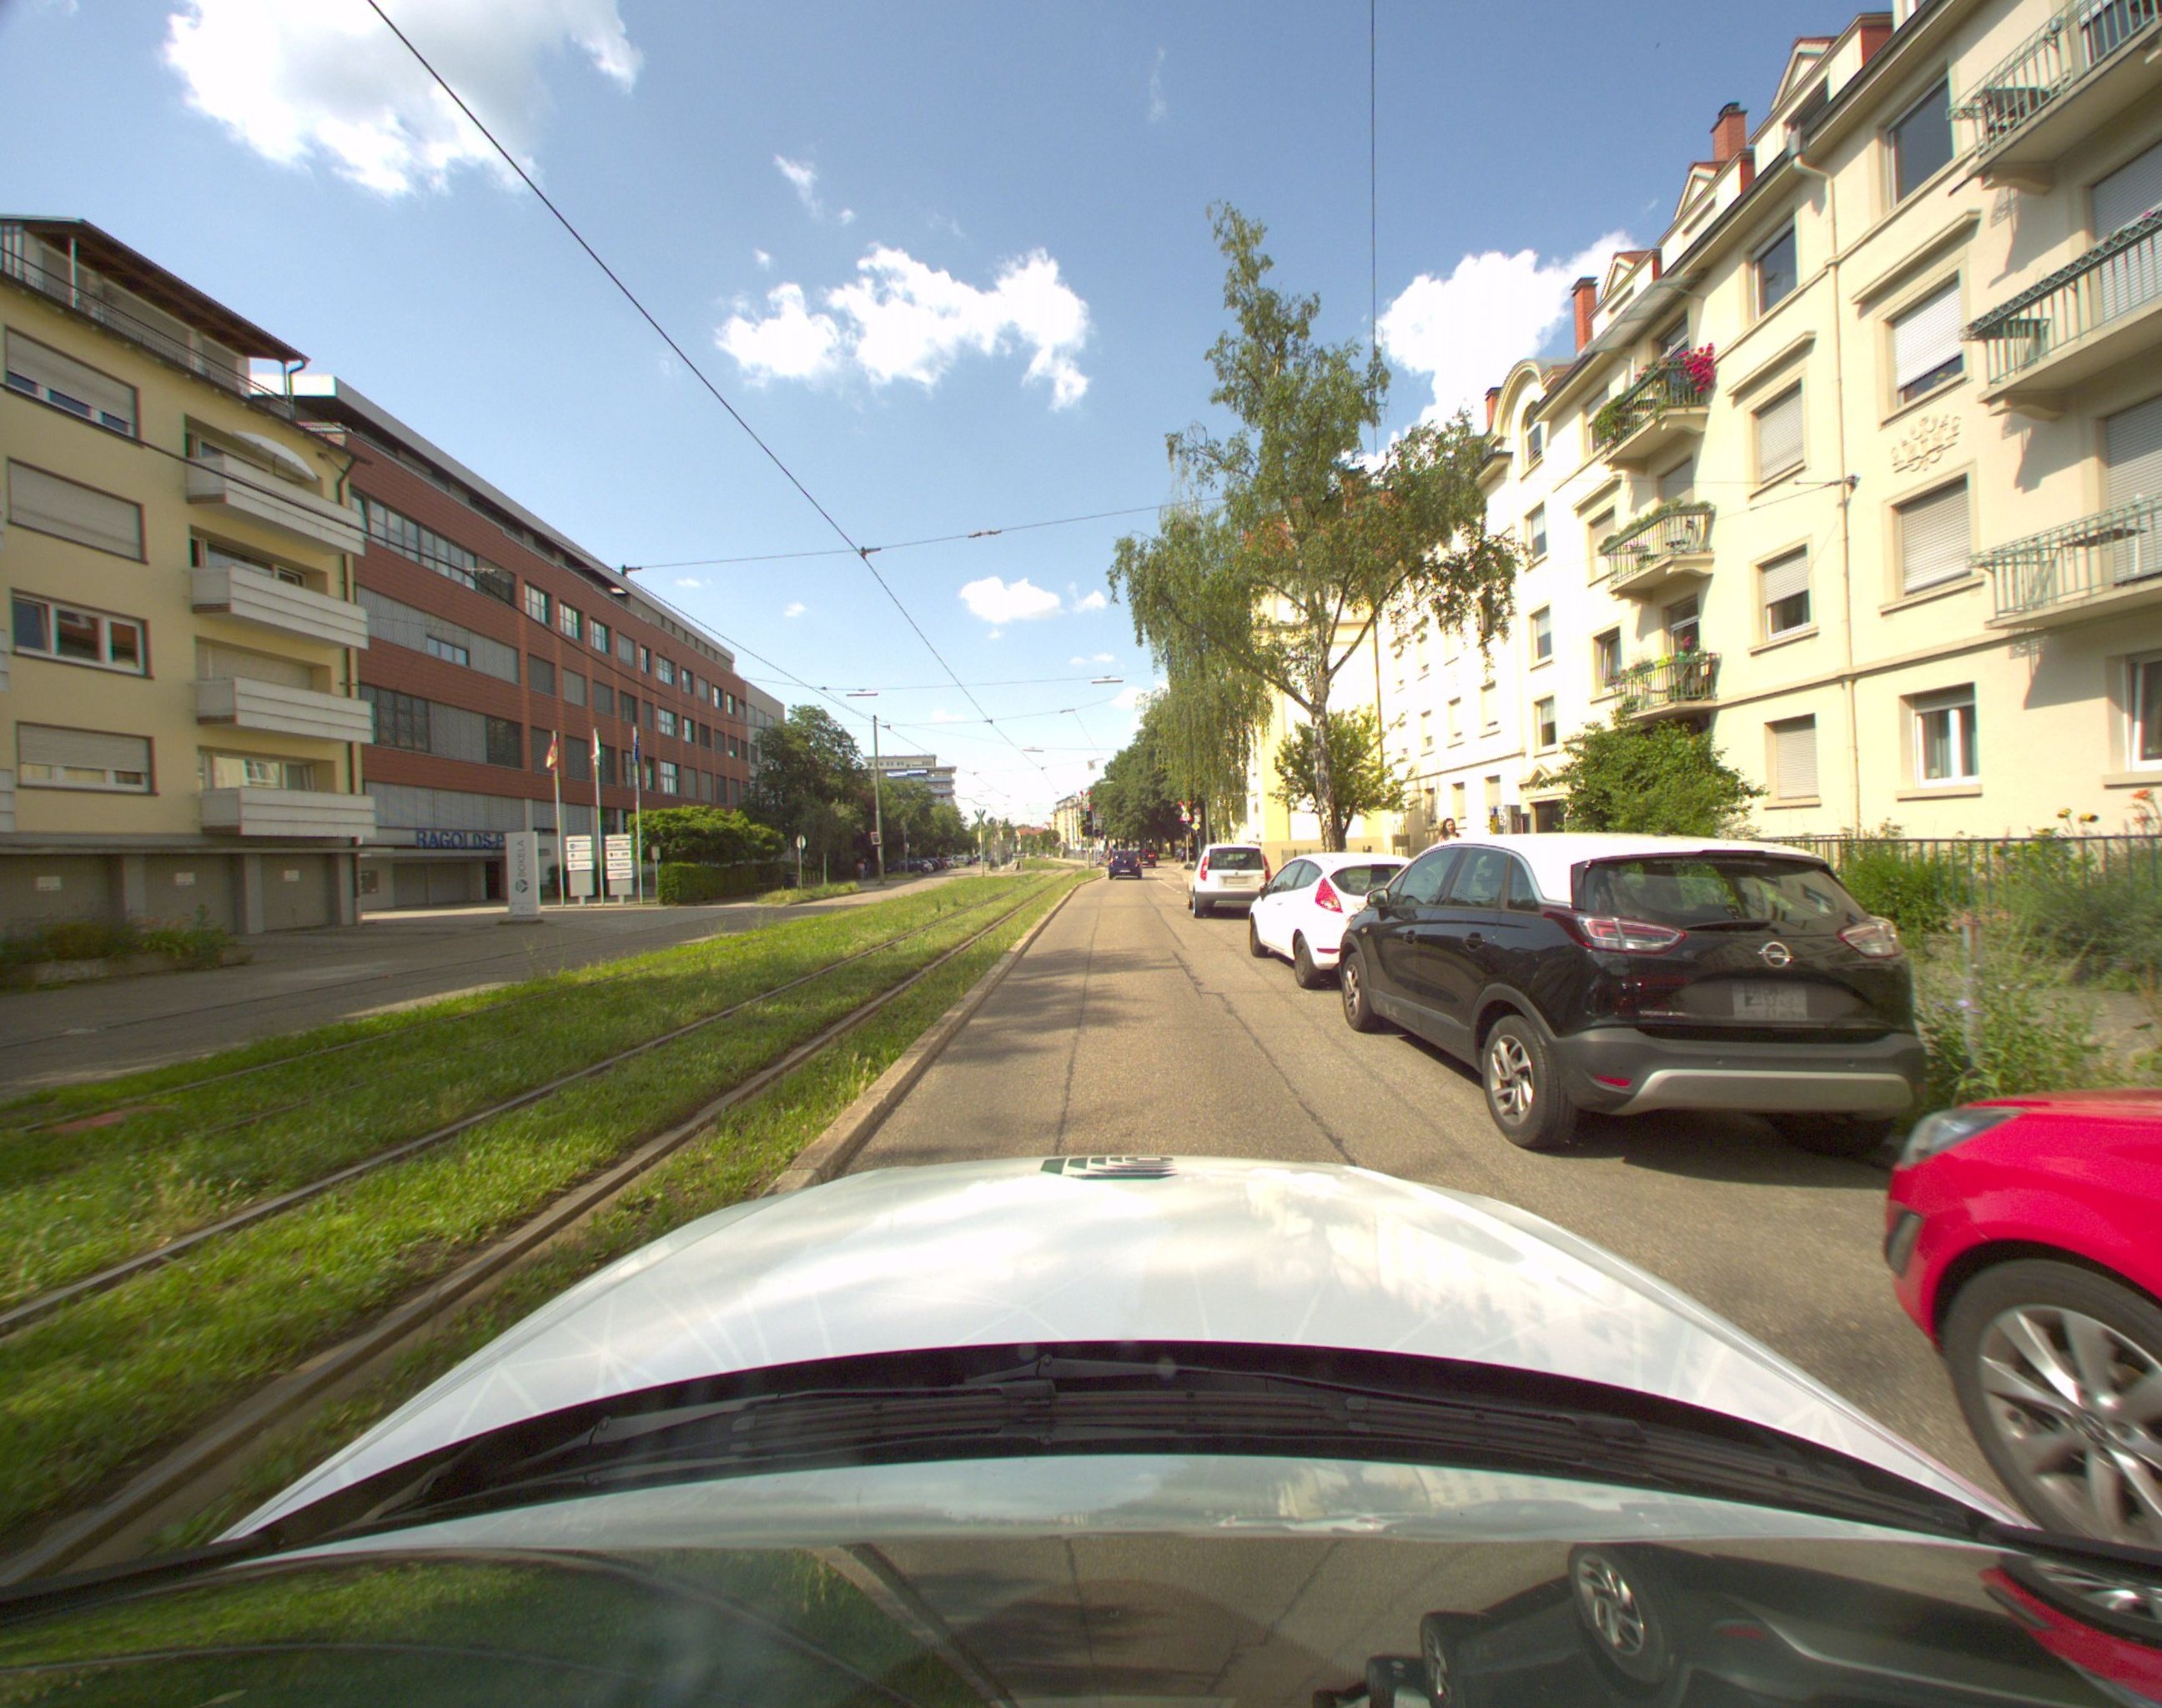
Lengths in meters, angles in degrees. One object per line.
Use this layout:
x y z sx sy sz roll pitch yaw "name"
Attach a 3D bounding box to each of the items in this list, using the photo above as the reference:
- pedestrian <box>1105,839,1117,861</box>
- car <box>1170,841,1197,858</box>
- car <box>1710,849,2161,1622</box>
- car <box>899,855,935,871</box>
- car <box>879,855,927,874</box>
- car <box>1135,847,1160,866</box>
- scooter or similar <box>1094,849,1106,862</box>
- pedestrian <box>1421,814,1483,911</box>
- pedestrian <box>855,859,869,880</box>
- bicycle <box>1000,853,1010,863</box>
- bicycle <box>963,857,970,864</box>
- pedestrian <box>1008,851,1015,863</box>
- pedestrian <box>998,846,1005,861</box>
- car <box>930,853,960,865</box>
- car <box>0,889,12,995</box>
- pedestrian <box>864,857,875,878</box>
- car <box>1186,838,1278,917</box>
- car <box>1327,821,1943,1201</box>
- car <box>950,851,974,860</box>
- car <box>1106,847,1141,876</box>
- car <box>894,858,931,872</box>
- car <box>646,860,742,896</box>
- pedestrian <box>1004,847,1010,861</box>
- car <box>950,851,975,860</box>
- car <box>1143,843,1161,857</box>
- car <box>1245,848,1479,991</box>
2.607 -0.356 70.674 0.869 1.775 1.002 -5 0 -3 "pedestrian"
9.790 -0.412 77.815 1.762 1.433 3.898 -3 0 -5 "car"
2.814 0.737 0.745 1.583 1.452 3.846 1 0 1 "car"
-17.384 0.975 86.297 3.408 1.505 1.526 -3 0 -42 "car"
-16.902 0.991 77.329 4.156 1.640 1.704 -3 1 -43 "car"
5.169 0.178 63.702 1.694 1.368 3.515 0 1 0 "car"
1.642 0.143 70.384 0.952 1.064 0.796 -5 1 -4 "scooter or similar"
6.735 0.147 14.808 0.726 1.683 0.692 -5 0 5 "pedestrian"
-17.097 1.204 63.614 0.742 1.574 0.890 -3 -1 4 "pedestrian"
-8.555 0.424 91.144 0.682 0.974 1.774 -5 1 6 "bicycle"
-16.983 1.023 120.457 0.678 0.971 2.178 -3 0 0 "bicycle"
-8.873 0.368 103.853 0.648 1.426 0.567 -3 0 33 "pedestrian"
-9.534 -0.039 97.874 0.653 1.692 0.655 -3 0 -3 "pedestrian"
-19.498 0.692 116.727 4.024 1.367 1.695 -4 1 -45 "car"
-18.445 1.378 11.561 3.971 1.602 1.974 -1 0 2 "car"
-17.194 1.118 66.206 0.554 1.657 0.748 -3 0 5 "pedestrian"
3.370 0.465 18.814 1.713 1.629 4.006 0 0 5 "car"
2.881 0.635 5.278 1.488 1.579 3.760 0 1 1 "car"
-20.672 0.328 141.886 1.618 1.385 4.025 -2 1 41 "car"
2.235 0.351 42.866 1.760 1.462 3.779 0 1 3 "car"
-17.159 1.143 82.980 3.408 1.236 1.525 -3 1 -43 "car"
-20.180 1.235 42.614 3.975 1.596 1.999 -3 0 -1 "car"
-9.354 0.023 103.338 0.601 1.766 0.640 -3 0 5 "pedestrian"
-21.445 0.284 147.226 4.020 1.447 1.708 -3 1 -38 "car"
8.568 -0.480 98.347 1.854 1.445 4.002 -4 0 2 "car"
3.171 0.633 9.987 1.666 1.417 3.797 0 0 1 "car"
